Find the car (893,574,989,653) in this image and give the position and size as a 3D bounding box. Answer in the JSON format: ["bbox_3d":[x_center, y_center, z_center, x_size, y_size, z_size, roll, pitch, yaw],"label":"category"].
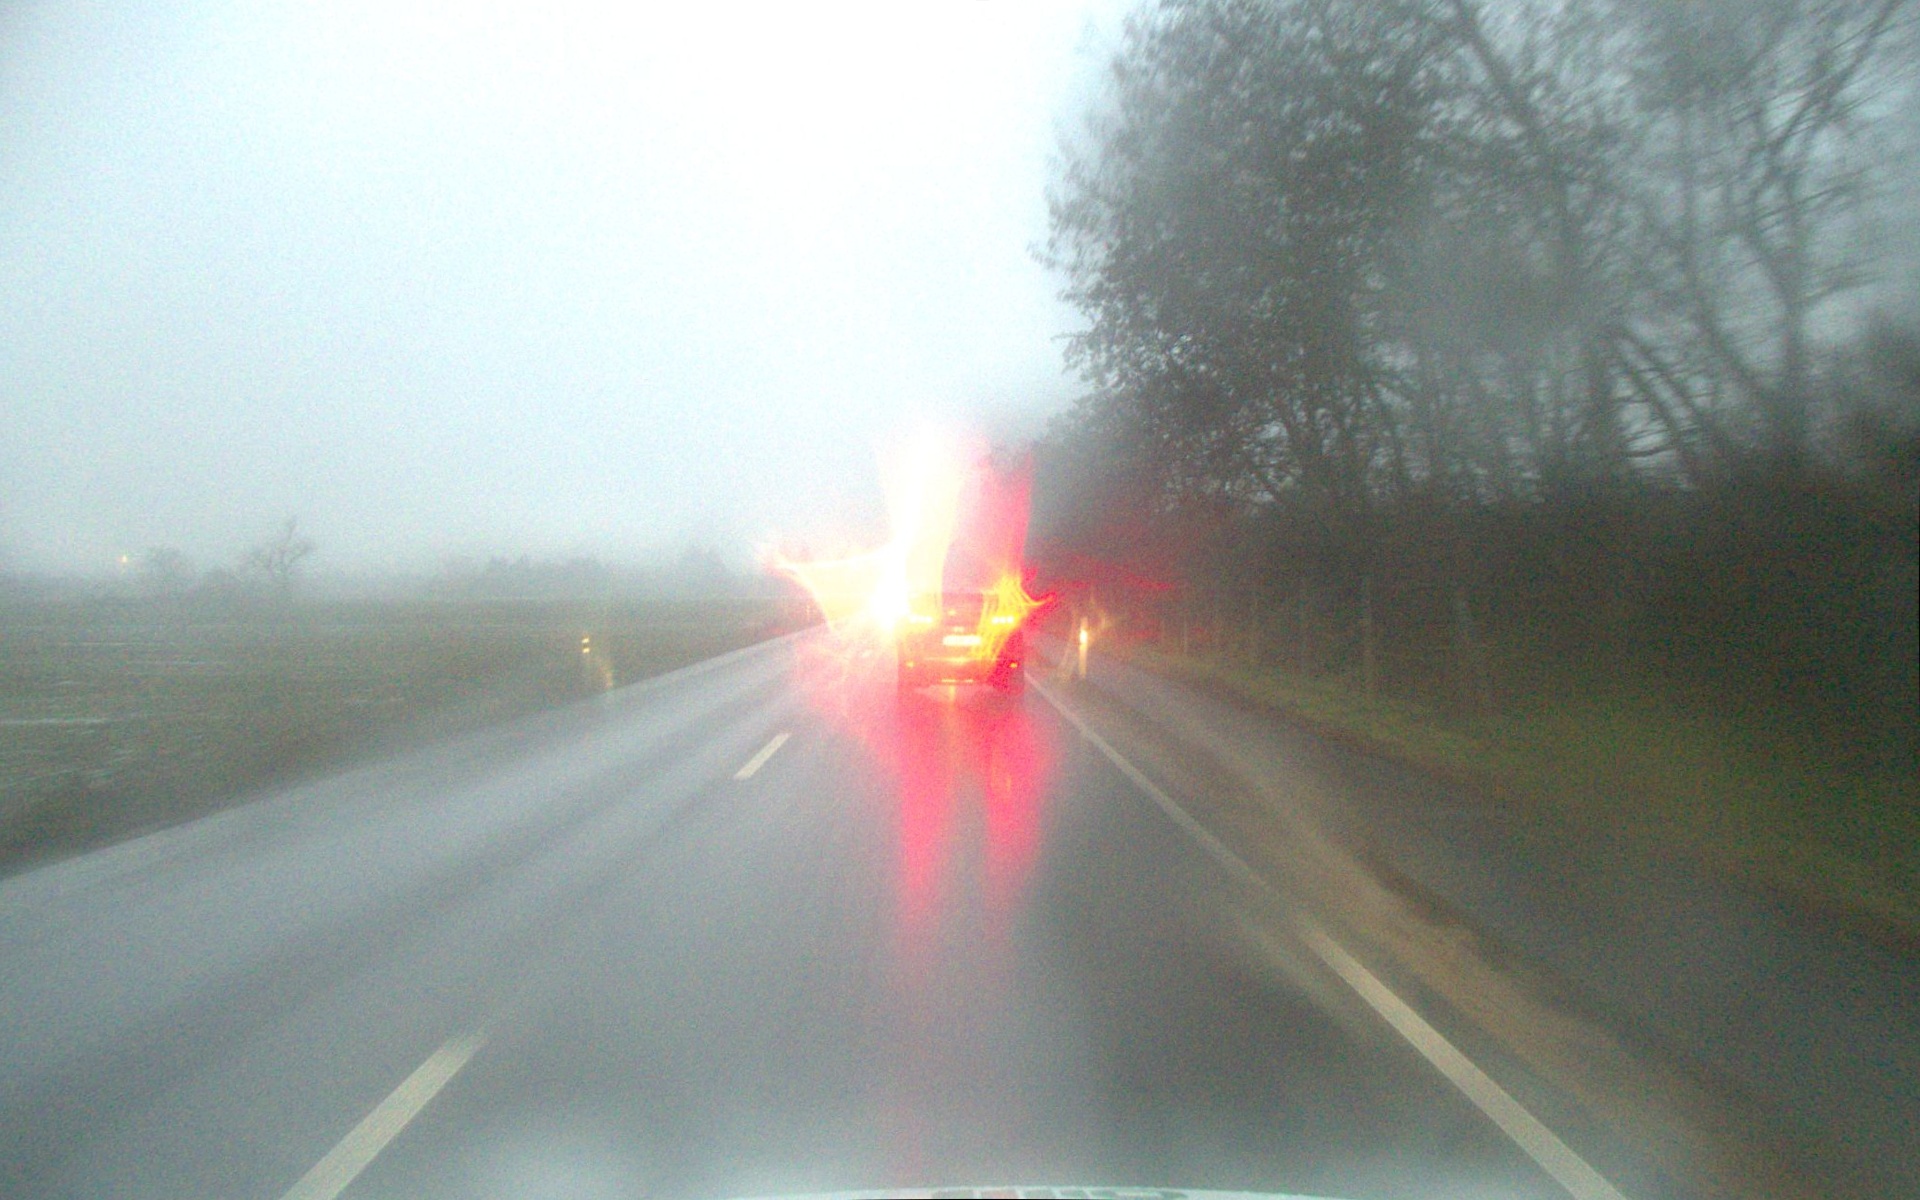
[{"bbox_3d":[-0.520,0.366,47.212,2.539,2.049,5.803,1,0,0],"label":"car"}]

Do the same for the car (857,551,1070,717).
[{"bbox_3d":[0.037,0.445,24.649,2.763,2.113,5.803,1,0,0],"label":"car"}]
